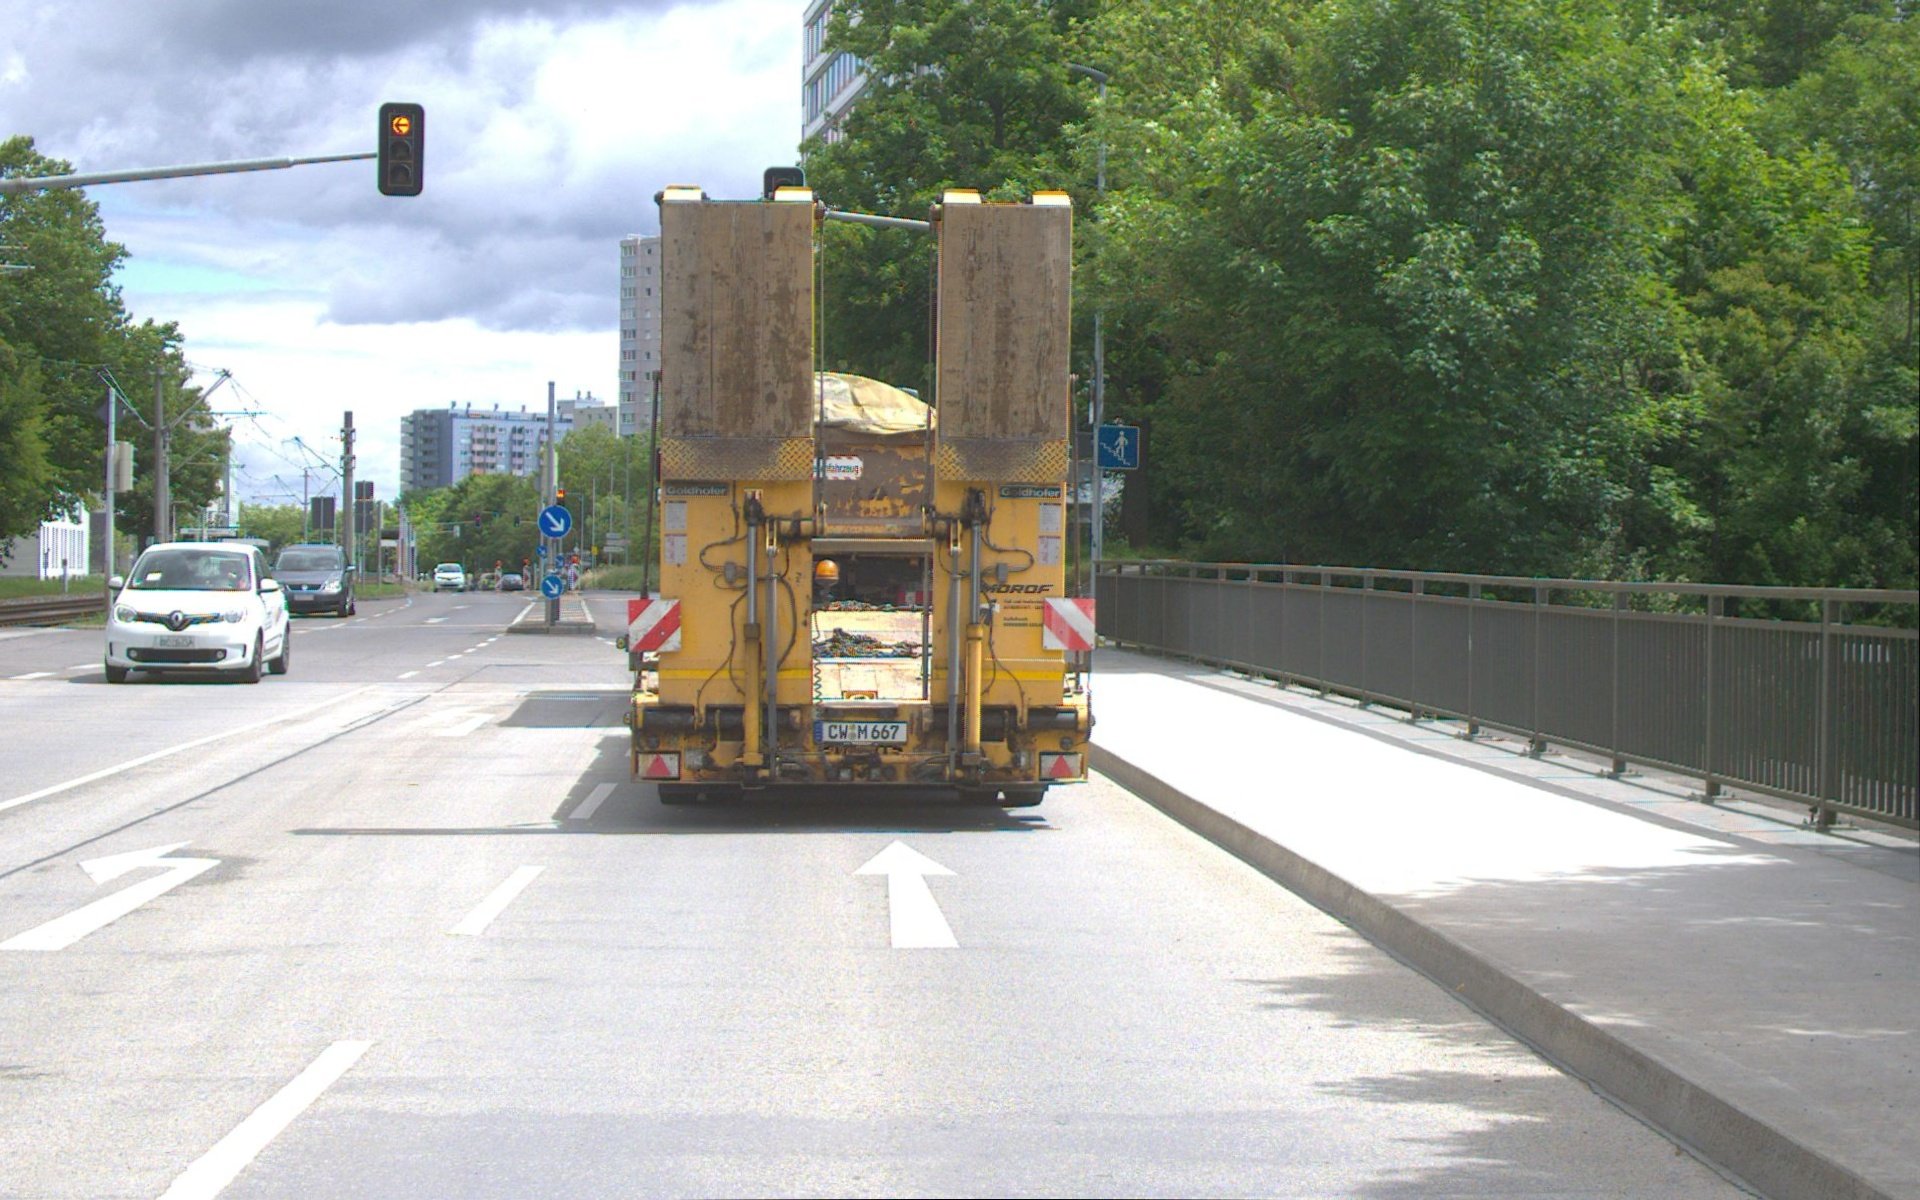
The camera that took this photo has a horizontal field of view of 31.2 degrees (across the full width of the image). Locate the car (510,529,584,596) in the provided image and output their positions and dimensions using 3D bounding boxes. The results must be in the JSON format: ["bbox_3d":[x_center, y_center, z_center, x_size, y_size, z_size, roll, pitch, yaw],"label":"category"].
[{"bbox_3d":[-12.469,-1.145,103.980,1.993,1.919,4.001,3,1,-5],"label":"car"}]

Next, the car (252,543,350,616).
[{"bbox_3d":[-14.705,-0.477,76.911,1.783,1.564,4.346,1,1,-6],"label":"car"}]

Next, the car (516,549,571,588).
[{"bbox_3d":[-16.574,-1.274,136.863,1.993,1.415,4.001,3,1,-5],"label":"car"}]

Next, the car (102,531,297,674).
[{"bbox_3d":[-8.558,0.003,38.936,1.593,1.521,3.656,1,1,-3],"label":"car"}]

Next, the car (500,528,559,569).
[{"bbox_3d":[-15.869,-1.895,126.879,1.993,1.415,4.001,3,1,-5],"label":"car"}]

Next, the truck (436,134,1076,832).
[{"bbox_3d":[-1.097,-0.706,24.828,3.316,3.638,12.562,2,1,0],"label":"truck"}]

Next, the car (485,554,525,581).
[{"bbox_3d":[-21.894,-1.551,165.426,1.783,1.267,4.346,1,1,-6],"label":"car"}]

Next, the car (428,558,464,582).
[{"bbox_3d":[-28.602,-1.685,191.548,1.783,1.267,4.346,1,1,-6],"label":"car"}]

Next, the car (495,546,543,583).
[{"bbox_3d":[-20.667,-1.656,161.261,1.993,1.612,4.001,3,1,-5],"label":"car"}]
